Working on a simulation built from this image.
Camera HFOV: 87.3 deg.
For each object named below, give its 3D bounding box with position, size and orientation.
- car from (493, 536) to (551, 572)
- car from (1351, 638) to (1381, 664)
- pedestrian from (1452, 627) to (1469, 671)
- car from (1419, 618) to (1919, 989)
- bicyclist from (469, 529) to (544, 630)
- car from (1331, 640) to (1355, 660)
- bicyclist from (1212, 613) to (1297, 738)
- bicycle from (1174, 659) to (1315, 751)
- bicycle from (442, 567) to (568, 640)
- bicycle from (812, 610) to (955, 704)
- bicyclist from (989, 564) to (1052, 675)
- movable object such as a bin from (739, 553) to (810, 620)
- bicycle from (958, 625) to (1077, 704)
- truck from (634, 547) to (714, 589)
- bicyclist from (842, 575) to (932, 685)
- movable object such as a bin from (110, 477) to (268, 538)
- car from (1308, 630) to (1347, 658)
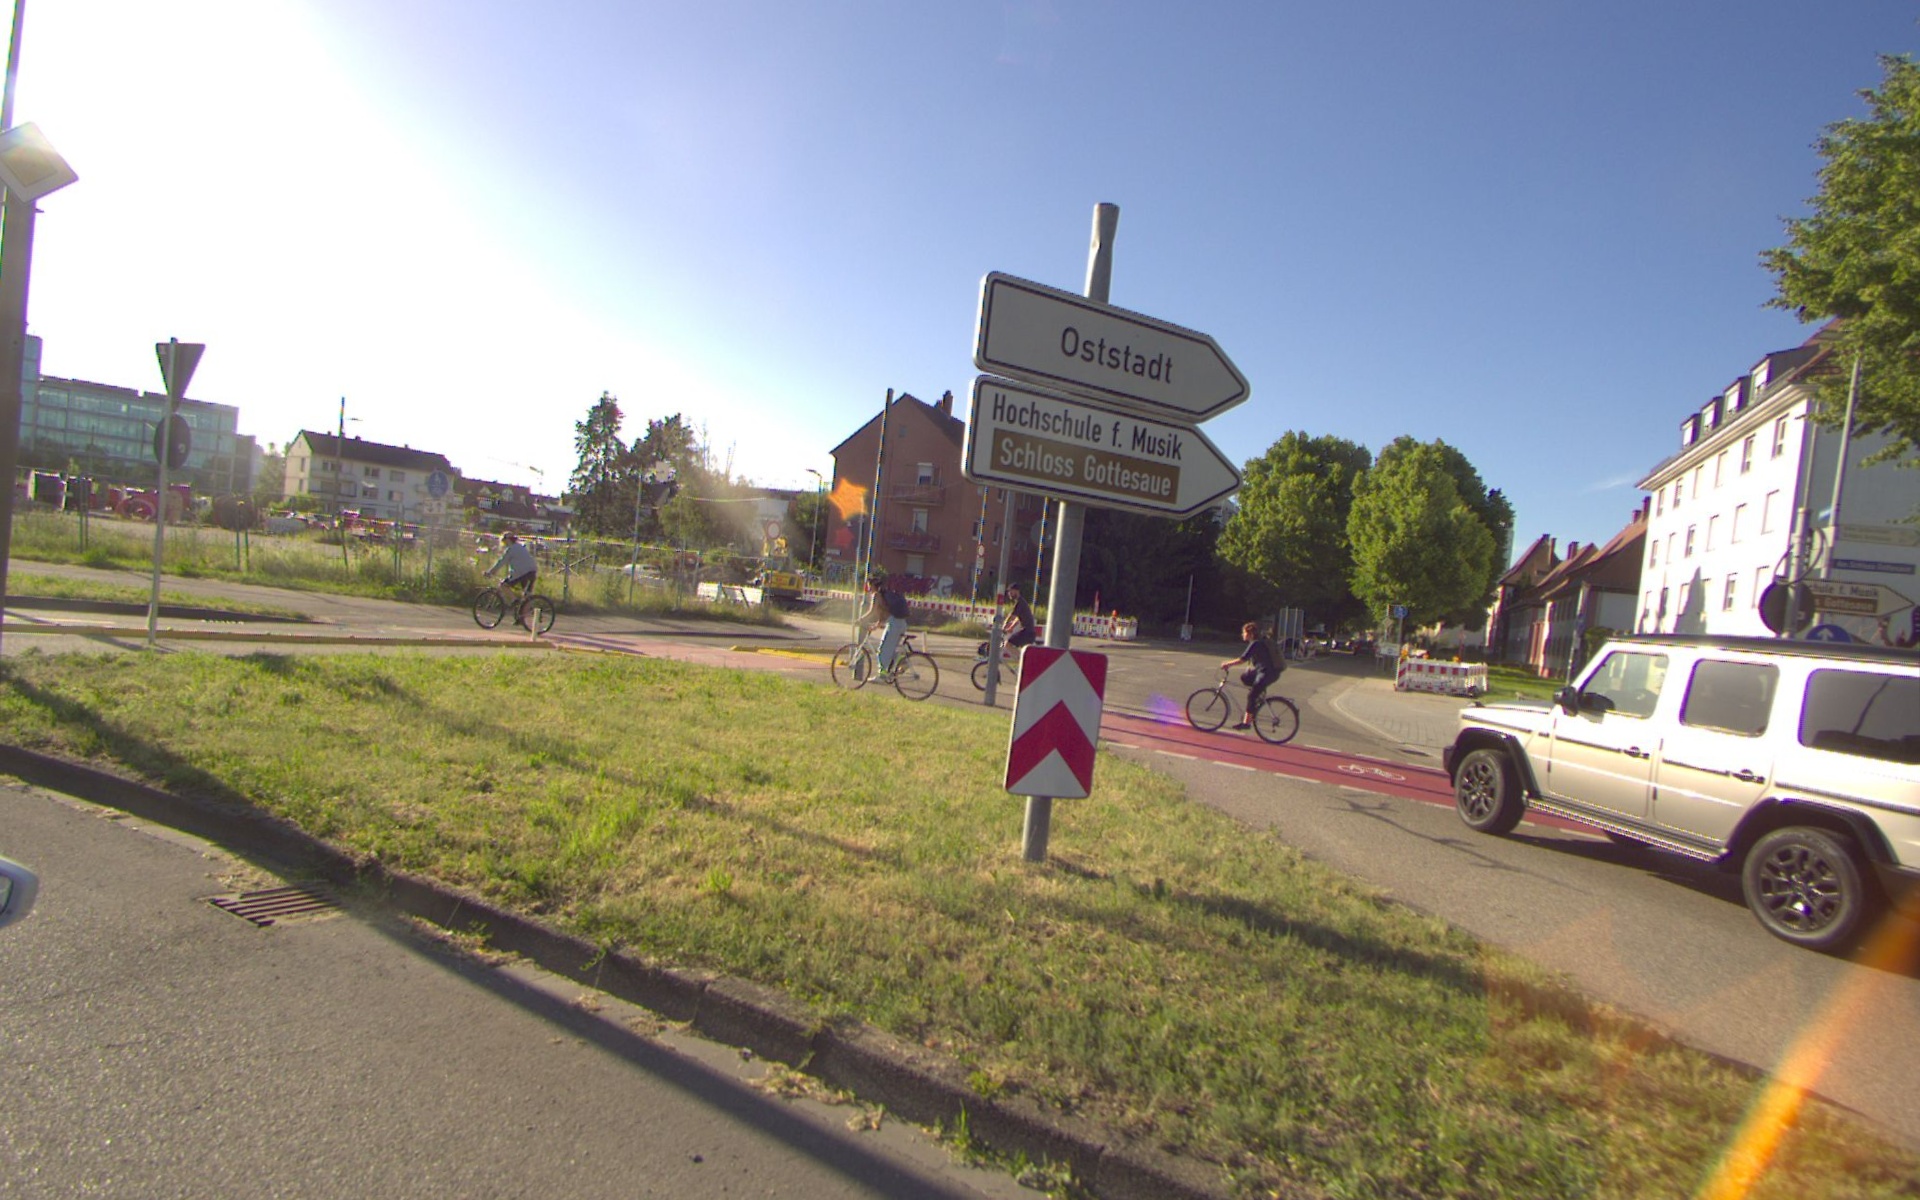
[{"bbox_3d":[-32.329,-3.418,74.204,4.433,2.038,1.992,8,0,40],"label":"car"},{"bbox_3d":[36.219,4.590,89.778,1.965,1.894,3.998,8,-1,27],"label":"car"},{"bbox_3d":[23.842,2.328,47.931,0.464,2.040,0.453,8,2,33],"label":"pedestrian"},{"bbox_3d":[6.027,1.301,7.681,1.971,1.920,4.741,7,0,-12],"label":"car"},{"bbox_3d":[-8.249,-0.369,18.334,0.838,1.704,0.741,8,4,11],"label":"bicyclist"},{"bbox_3d":[40.384,5.283,106.026,1.964,1.721,3.996,7,0,26],"label":"car"},{"bbox_3d":[4.339,1.101,14.804,0.883,1.685,0.659,8,0,27],"label":"bicyclist"},{"bbox_3d":[4.196,1.528,14.850,1.792,1.040,0.659,8,0,28],"label":"bicycle"},{"bbox_3d":[-8.302,0.052,18.377,1.972,1.041,0.742,8,4,11],"label":"bicycle"},{"bbox_3d":[-1.088,0.800,14.290,1.789,1.040,0.660,8,0,17],"label":"bicycle"},{"bbox_3d":[1.015,0.326,16.868,0.797,1.751,0.655,7,1,10],"label":"bicyclist"},{"bbox_3d":[-9.008,-0.693,48.666,2.394,2.806,3.981,8,0,-20],"label":"movable object such as a bin"},{"bbox_3d":[0.973,1.074,16.877,1.789,1.040,0.661,8,0,11],"label":"bicycle"},{"bbox_3d":[-18.724,-2.115,65.665,2.158,2.038,6.356,9,0,-43],"label":"truck"},{"bbox_3d":[-1.029,0.427,14.273,0.917,1.401,0.660,8,0,17],"label":"bicyclist"},{"bbox_3d":[-50.822,-6.064,66.466,7.882,2.817,2.906,7,1,-44],"label":"movable object such as a bin"},{"bbox_3d":[29.087,3.496,79.562,1.967,1.922,3.991,7,0,32],"label":"car"}]
